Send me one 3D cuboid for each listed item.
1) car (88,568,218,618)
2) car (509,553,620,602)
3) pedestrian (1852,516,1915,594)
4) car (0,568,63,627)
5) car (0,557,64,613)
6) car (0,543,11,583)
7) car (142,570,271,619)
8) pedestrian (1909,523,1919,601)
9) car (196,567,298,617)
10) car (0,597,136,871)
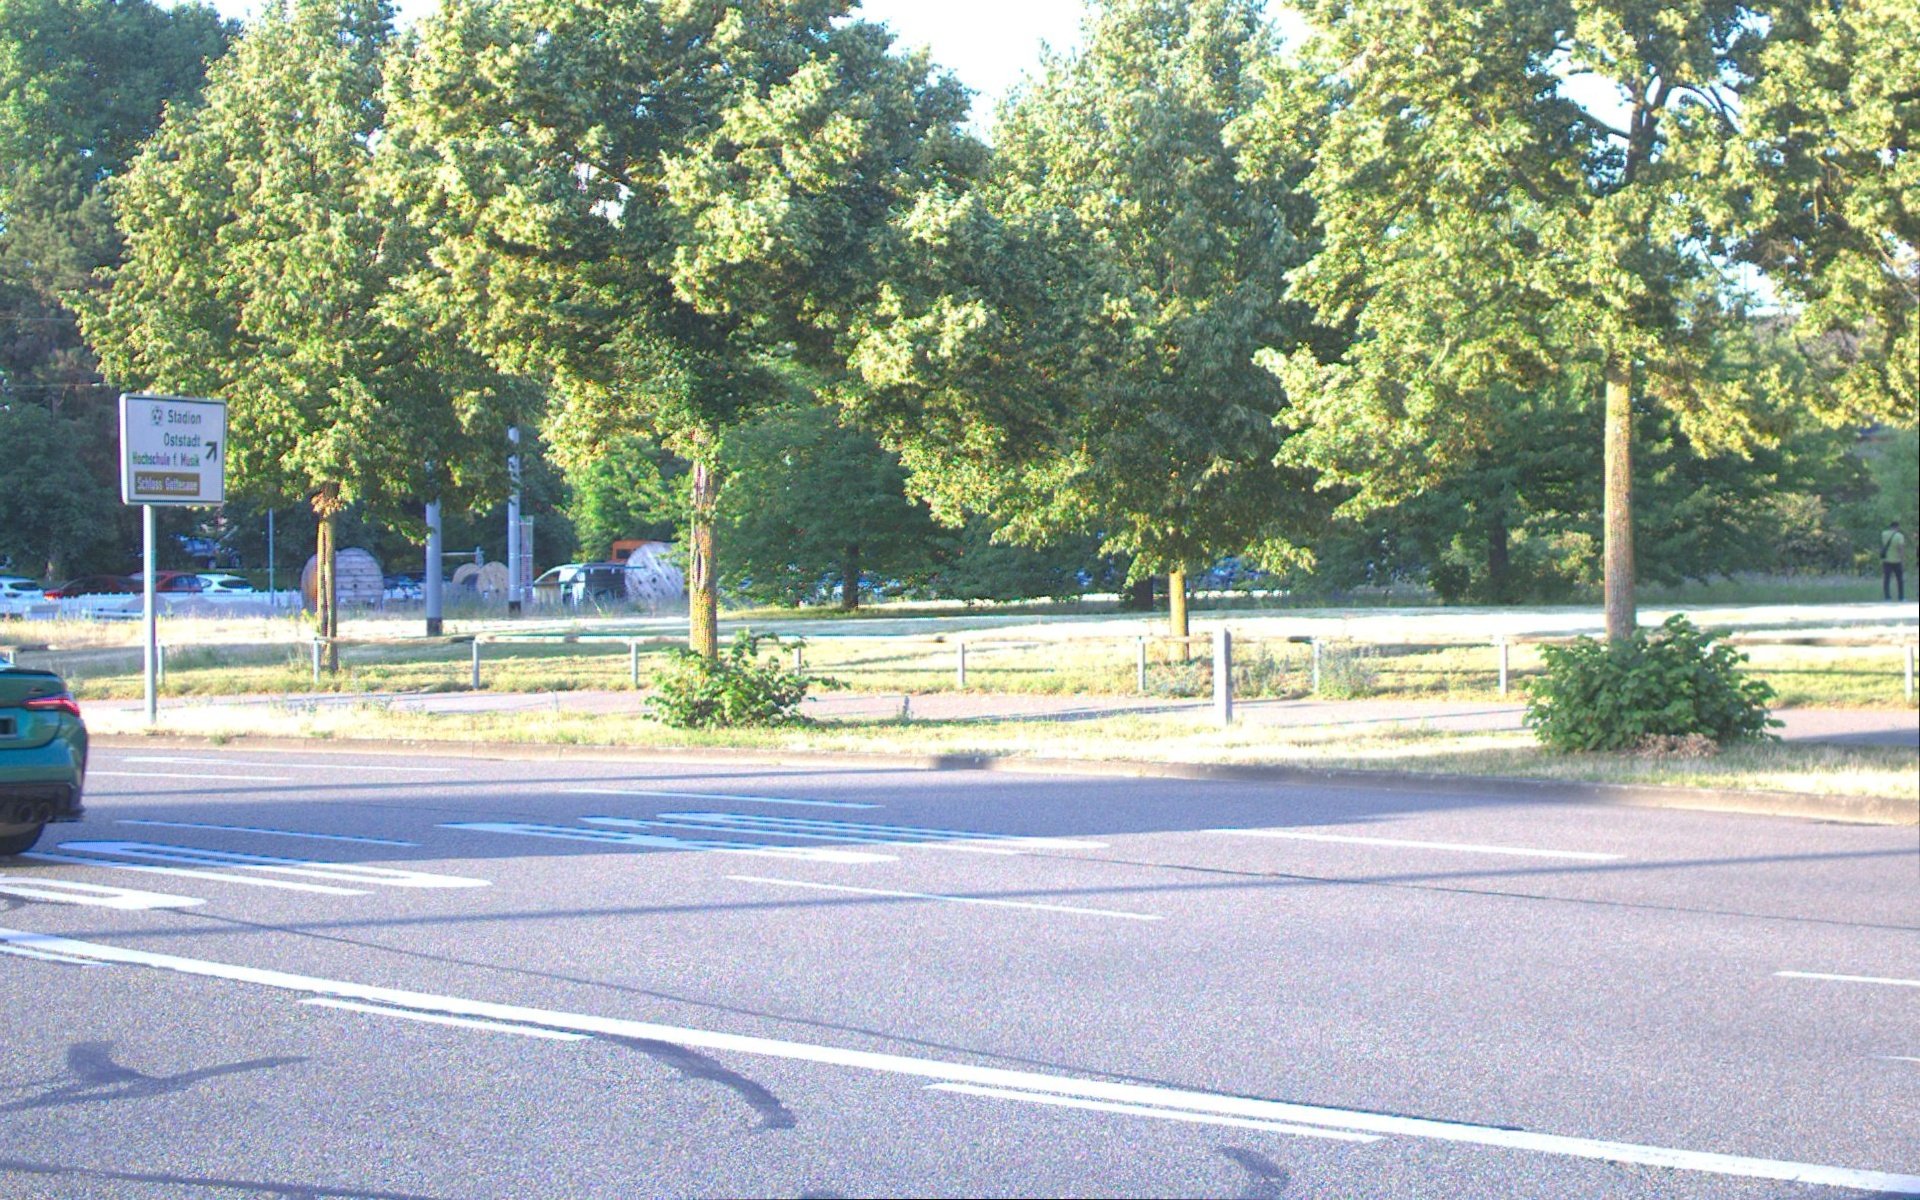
[{"bbox_3d":[-26.787,-0.251,114.088,3.994,1.598,1.996,0,1,33],"label":"car"},{"bbox_3d":[-13.241,-0.766,114.877,1.734,1.612,3.998,-1,1,-41],"label":"car"},{"bbox_3d":[19.145,-0.938,71.284,1.069,1.612,0.910,0,1,2],"label":"pedestrian"},{"bbox_3d":[-33.160,-0.082,117.667,4.582,2.007,2.001,-1,1,-9],"label":"car"},{"bbox_3d":[-35.246,-0.539,125.800,4.582,2.007,2.001,-1,1,-9],"label":"car"},{"bbox_3d":[-42.426,-1.563,145.357,3.988,1.700,2.000,0,1,7],"label":"car"},{"bbox_3d":[-25.384,-0.195,115.818,3.994,1.598,1.996,0,1,33],"label":"car"},{"bbox_3d":[20.224,-0.794,70.919,1.069,1.612,0.910,0,1,2],"label":"pedestrian"},{"bbox_3d":[-26.832,-0.309,129.297,1.994,1.746,4.597,-1,2,-37],"label":"car"},{"bbox_3d":[-6.789,0.678,18.828,4.730,1.366,1.995,1,1,40],"label":"car"}]
